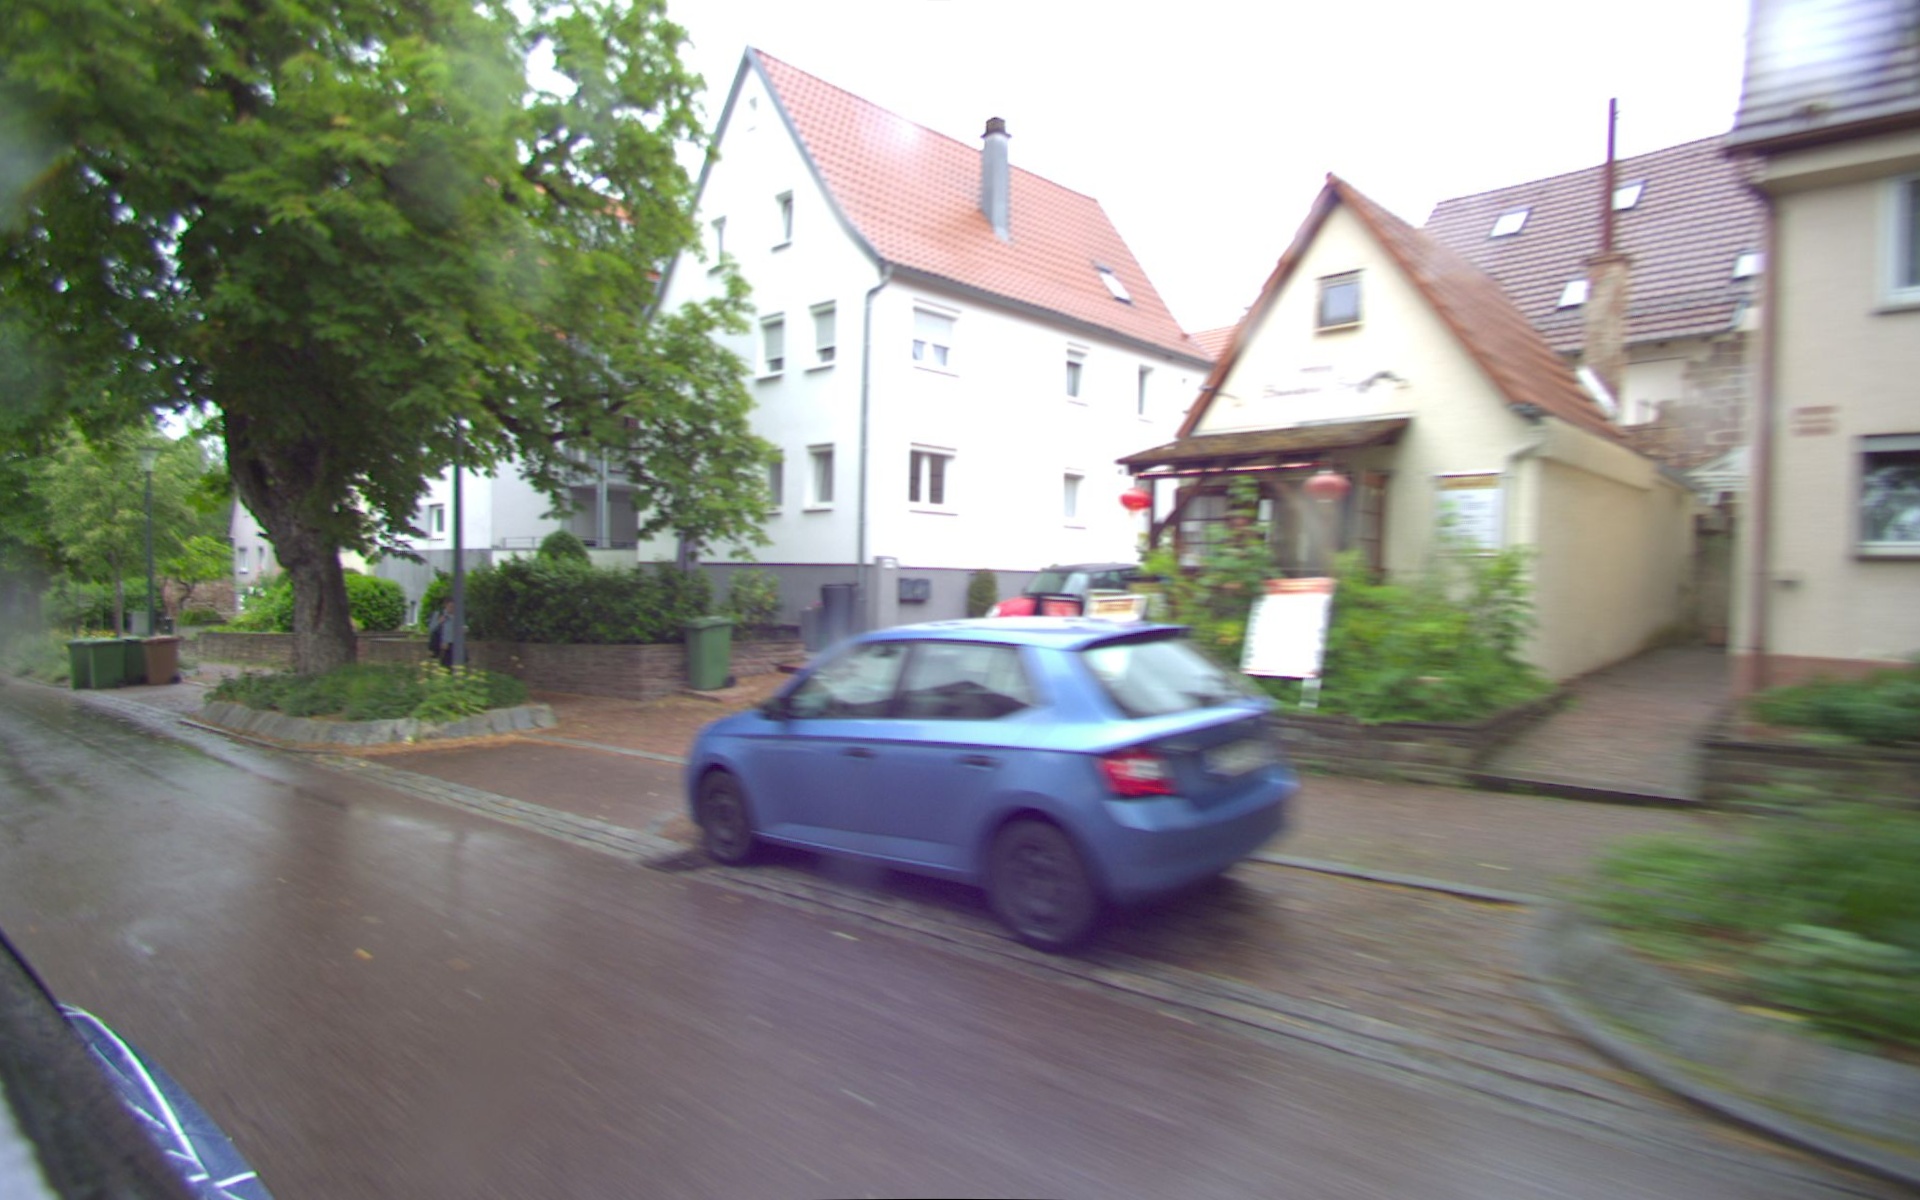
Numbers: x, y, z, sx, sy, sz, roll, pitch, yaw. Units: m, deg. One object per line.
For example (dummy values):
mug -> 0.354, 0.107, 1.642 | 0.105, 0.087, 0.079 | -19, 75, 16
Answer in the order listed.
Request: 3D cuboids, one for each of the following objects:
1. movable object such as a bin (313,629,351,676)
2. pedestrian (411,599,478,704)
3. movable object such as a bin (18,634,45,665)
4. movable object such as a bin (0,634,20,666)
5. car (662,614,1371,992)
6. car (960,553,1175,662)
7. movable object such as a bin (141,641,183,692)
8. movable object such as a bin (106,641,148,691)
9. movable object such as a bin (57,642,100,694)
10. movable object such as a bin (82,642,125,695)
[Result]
movable object such as a bin -> -15.613, 1.290, 25.145 | 0.659, 1.141, 0.655 | -1, -1, 43
pedestrian -> -8.177, 0.790, 16.043 | 0.932, 1.606, 0.643 | -1, -1, 41
movable object such as a bin -> -33.354, 1.765, 36.352 | 0.560, 1.067, 0.611 | -1, 1, 40
movable object such as a bin -> -33.771, 1.763, 35.849 | 0.568, 1.067, 0.611 | -1, 1, 40
car -> 0.100, 0.803, 5.761 | 3.795, 1.406, 1.731 | -1, -1, 42
car -> 1.956, 0.032, 17.728 | 1.891, 1.507, 3.670 | 2, 6, 43
movable object such as a bin -> -17.655, 1.451, 22.393 | 0.655, 1.082, 0.596 | 1, -1, -45
movable object such as a bin -> -18.501, 1.453, 22.486 | 0.655, 1.082, 0.596 | 1, -1, -45
movable object such as a bin -> -19.059, 1.455, 21.890 | 0.655, 1.082, 0.596 | 1, -1, -45
movable object such as a bin -> -18.354, 1.455, 21.688 | 0.655, 1.075, 0.596 | 1, -1, -45
